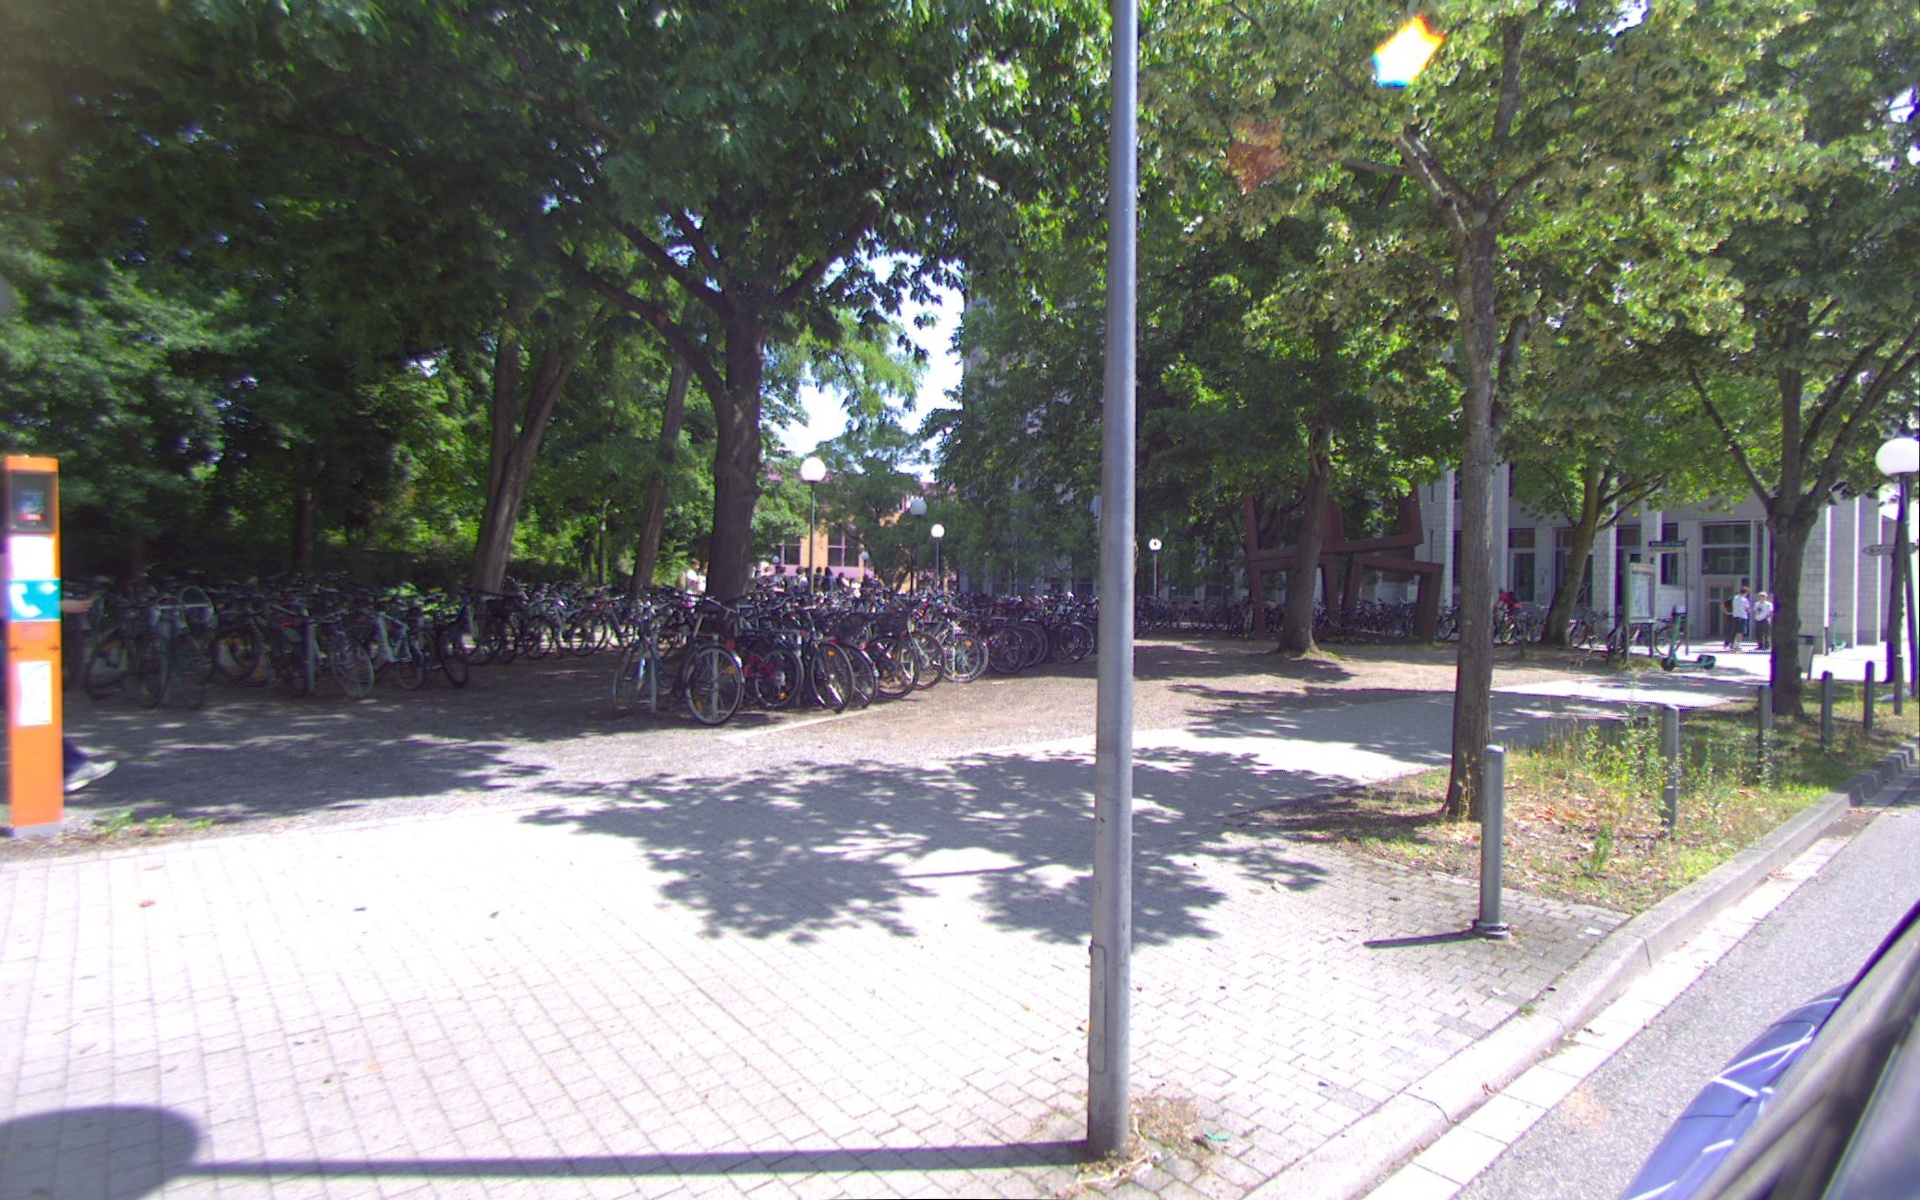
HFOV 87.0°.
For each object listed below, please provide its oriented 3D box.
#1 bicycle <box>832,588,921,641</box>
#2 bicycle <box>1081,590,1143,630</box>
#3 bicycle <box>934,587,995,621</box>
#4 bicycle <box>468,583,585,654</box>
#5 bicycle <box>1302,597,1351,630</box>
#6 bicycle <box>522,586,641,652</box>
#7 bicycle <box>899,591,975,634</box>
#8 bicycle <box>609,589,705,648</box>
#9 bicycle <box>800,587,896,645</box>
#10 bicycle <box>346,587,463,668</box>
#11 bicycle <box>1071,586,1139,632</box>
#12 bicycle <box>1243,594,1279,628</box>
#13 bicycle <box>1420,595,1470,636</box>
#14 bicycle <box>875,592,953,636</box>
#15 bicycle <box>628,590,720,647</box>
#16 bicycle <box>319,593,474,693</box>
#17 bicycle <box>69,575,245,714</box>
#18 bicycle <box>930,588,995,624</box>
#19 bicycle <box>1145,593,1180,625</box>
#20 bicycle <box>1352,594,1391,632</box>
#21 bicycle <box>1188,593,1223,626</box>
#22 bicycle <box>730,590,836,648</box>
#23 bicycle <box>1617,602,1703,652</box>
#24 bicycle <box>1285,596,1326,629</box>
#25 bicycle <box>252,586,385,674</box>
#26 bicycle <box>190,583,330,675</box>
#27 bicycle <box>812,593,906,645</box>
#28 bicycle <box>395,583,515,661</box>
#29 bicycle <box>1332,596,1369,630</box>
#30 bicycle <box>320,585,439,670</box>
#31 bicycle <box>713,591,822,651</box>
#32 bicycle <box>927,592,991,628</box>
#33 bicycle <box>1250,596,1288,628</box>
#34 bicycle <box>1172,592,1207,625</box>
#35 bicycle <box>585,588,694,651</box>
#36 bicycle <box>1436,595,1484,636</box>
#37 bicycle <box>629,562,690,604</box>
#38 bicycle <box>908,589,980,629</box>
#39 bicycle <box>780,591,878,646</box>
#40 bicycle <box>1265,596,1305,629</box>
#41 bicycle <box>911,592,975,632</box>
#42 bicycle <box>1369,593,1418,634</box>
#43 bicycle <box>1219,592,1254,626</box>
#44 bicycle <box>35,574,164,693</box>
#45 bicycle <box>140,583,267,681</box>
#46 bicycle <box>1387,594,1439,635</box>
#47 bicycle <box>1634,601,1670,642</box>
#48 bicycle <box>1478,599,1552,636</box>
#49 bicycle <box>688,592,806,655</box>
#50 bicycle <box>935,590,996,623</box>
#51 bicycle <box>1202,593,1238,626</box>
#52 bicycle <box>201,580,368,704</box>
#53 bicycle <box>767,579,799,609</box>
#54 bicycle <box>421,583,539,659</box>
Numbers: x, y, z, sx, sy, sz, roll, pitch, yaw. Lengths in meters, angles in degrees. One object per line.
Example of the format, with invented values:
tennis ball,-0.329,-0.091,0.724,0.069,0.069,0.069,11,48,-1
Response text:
bicycle,-1.843,0.307,22.346,1.876,1.096,0.477,2,1,14
bicycle,4.637,0.297,30.848,1.818,1.185,0.434,2,0,15
bicycle,0.134,0.121,31.337,1.868,0.991,0.478,2,1,1
bicycle,-6.659,0.262,15.523,1.886,0.991,0.607,2,1,28
bicycle,11.863,0.447,32.733,1.663,1.061,0.618,1,-3,-33
bicycle,-6.197,0.291,16.561,1.877,0.991,0.534,2,1,16
bicycle,-0.576,0.308,25.332,1.867,0.991,0.379,2,1,0
bicycle,-5.571,0.323,18.547,1.885,0.991,0.438,2,1,27
bicycle,-2.265,0.313,20.437,1.876,1.096,0.477,2,1,14
bicycle,-7.536,0.346,13.703,1.886,0.991,0.417,2,1,28
bicycle,3.979,0.237,27.754,1.816,1.185,0.412,2,0,11
bicycle,10.397,0.402,34.950,0.453,1.144,1.661,-2,-3,44
bicycle,14.414,0.462,30.048,1.664,1.139,0.566,3,1,-36
bicycle,-1.111,0.328,24.342,1.880,0.991,0.376,2,1,20
bicycle,-5.386,0.332,19.009,1.864,0.991,0.304,2,1,23
bicycle,-6.367,0.446,11.407,1.886,0.991,0.607,2,1,28
bicycle,-7.378,0.363,9.280,1.793,1.132,0.607,2,1,28
bicycle,0.070,0.171,30.105,1.874,0.991,0.477,2,1,12
bicycle,7.499,0.338,37.409,0.453,1.144,1.661,-2,-3,44
bicycle,12.891,0.419,31.675,0.625,1.165,1.671,-2,-3,41
bicycle,8.825,0.354,36.335,0.453,1.144,1.661,-2,-3,44
bicycle,-3.270,0.337,18.723,1.872,0.991,0.477,2,1,9
bicycle,17.334,0.675,25.078,1.750,1.155,0.607,1,2,-8
bicycle,11.380,0.436,33.289,0.615,1.061,1.661,-2,-3,44
bicycle,-8.060,0.351,12.687,1.884,0.991,0.474,2,1,25
bicycle,-8.405,0.321,12.137,1.882,0.991,0.418,2,1,22
bicycle,-2.108,0.387,21.173,1.874,0.991,0.477,2,1,11
bicycle,-7.122,0.288,14.246,1.885,0.991,0.474,2,1,27
bicycle,12.412,0.434,32.137,0.566,1.061,1.670,-2,-3,41
bicycle,-7.596,0.333,13.215,1.886,0.991,0.417,2,1,28
bicycle,-3.460,0.363,18.221,1.873,0.991,0.477,2,1,9
bicycle,-0.032,0.293,30.598,1.871,0.991,0.478,2,1,7
bicycle,10.455,0.429,34.204,0.499,1.061,1.661,-2,-3,44
bicycle,8.320,0.311,36.647,0.453,1.144,1.661,-2,-3,44
bicycle,-5.546,0.326,17.502,1.880,0.991,0.475,2,1,20
bicycle,14.620,0.464,29.557,1.664,1.139,0.482,3,1,-36
bicycle,-8.397,-0.475,28.290,1.587,1.107,0.477,2,1,13
bicycle,-0.422,0.237,26.615,1.868,0.991,0.378,2,1,2
bicycle,-2.579,0.352,19.911,1.880,0.991,0.475,2,1,20
bicycle,10.860,0.436,33.787,0.615,1.061,1.661,-2,-3,44
bicycle,-0.474,0.322,27.748,1.714,1.035,0.292,2,1,9
bicycle,13.367,0.418,31.188,1.665,1.165,0.627,3,1,-39
bicycle,9.694,0.324,35.460,0.453,1.144,1.661,-2,-3,44
bicycle,-9.291,0.327,10.903,1.888,1.157,0.473,2,1,31
bicycle,-8.636,0.332,11.524,1.888,0.991,0.473,2,1,31
bicycle,13.684,0.437,30.523,1.664,1.139,0.628,3,1,-36
bicycle,22.331,0.691,32.634,1.798,1.257,0.531,-1,1,-42
bicycle,17.757,0.554,32.399,0.803,1.054,1.932,-3,3,-34
bicycle,-3.577,0.391,17.041,1.868,0.991,0.478,2,1,2
bicycle,0.168,0.201,31.872,1.868,0.991,0.478,2,1,1
bicycle,9.239,0.342,35.922,0.453,1.144,1.661,-2,-3,44
bicycle,-6.916,0.388,10.337,1.886,1.132,0.607,2,1,28
bicycle,-6.107,-0.228,35.046,0.576,0.942,1.750,4,2,6
bicycle,-6.921,0.283,14.561,1.885,0.991,0.474,2,1,27
